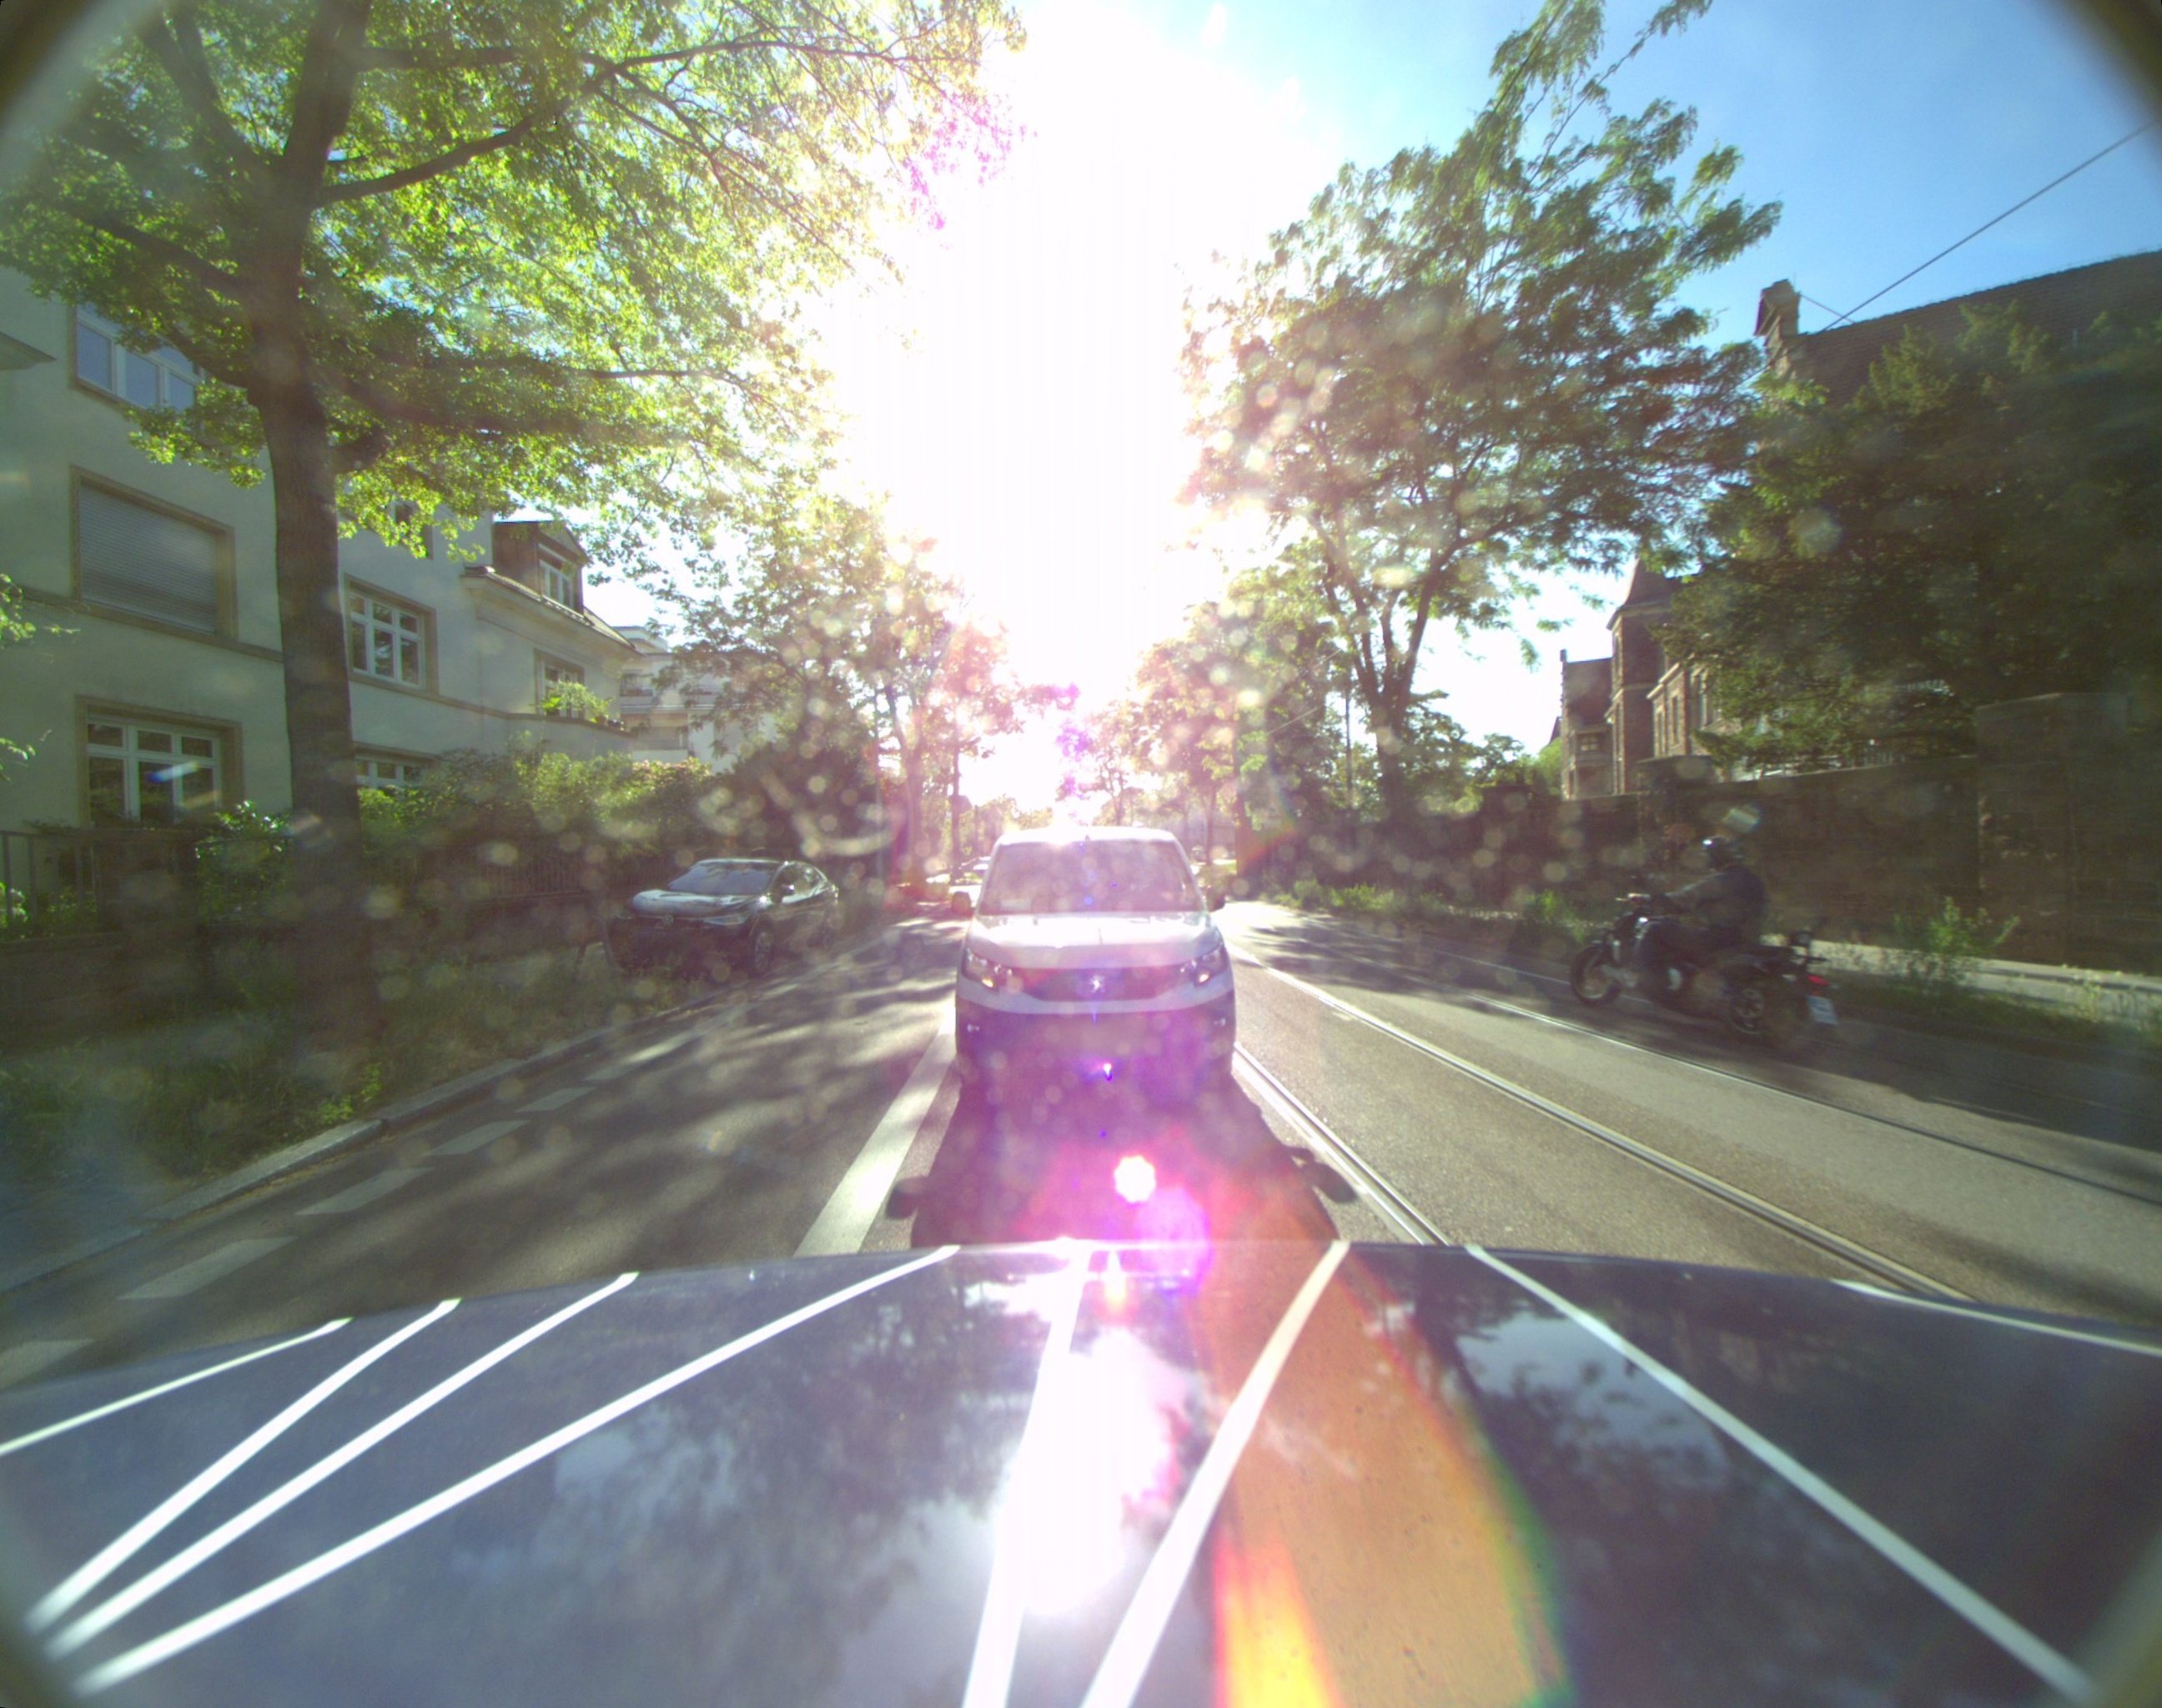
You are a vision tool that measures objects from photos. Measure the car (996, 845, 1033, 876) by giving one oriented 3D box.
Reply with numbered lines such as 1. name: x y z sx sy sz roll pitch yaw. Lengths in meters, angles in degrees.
1. car: -4.506 0.431 51.927 1.998 2.002 4.583 -2 0 1

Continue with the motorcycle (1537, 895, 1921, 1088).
1. motorcycle: 5.180 0.997 6.399 0.914 1.146 2.426 -2 0 -10

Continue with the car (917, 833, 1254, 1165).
1. car: 0.042 0.784 6.533 1.793 1.770 4.786 -2 0 0

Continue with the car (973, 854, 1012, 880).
1. car: -5.258 0.752 45.461 1.787 1.443 4.000 -2 0 1

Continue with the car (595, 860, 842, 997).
1. car: -5.144 0.944 11.474 1.743 1.597 4.091 2 0 0

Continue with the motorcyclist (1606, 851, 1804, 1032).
1. motorcyclist: 5.187 0.674 6.371 0.892 1.375 0.907 -2 1 -10
